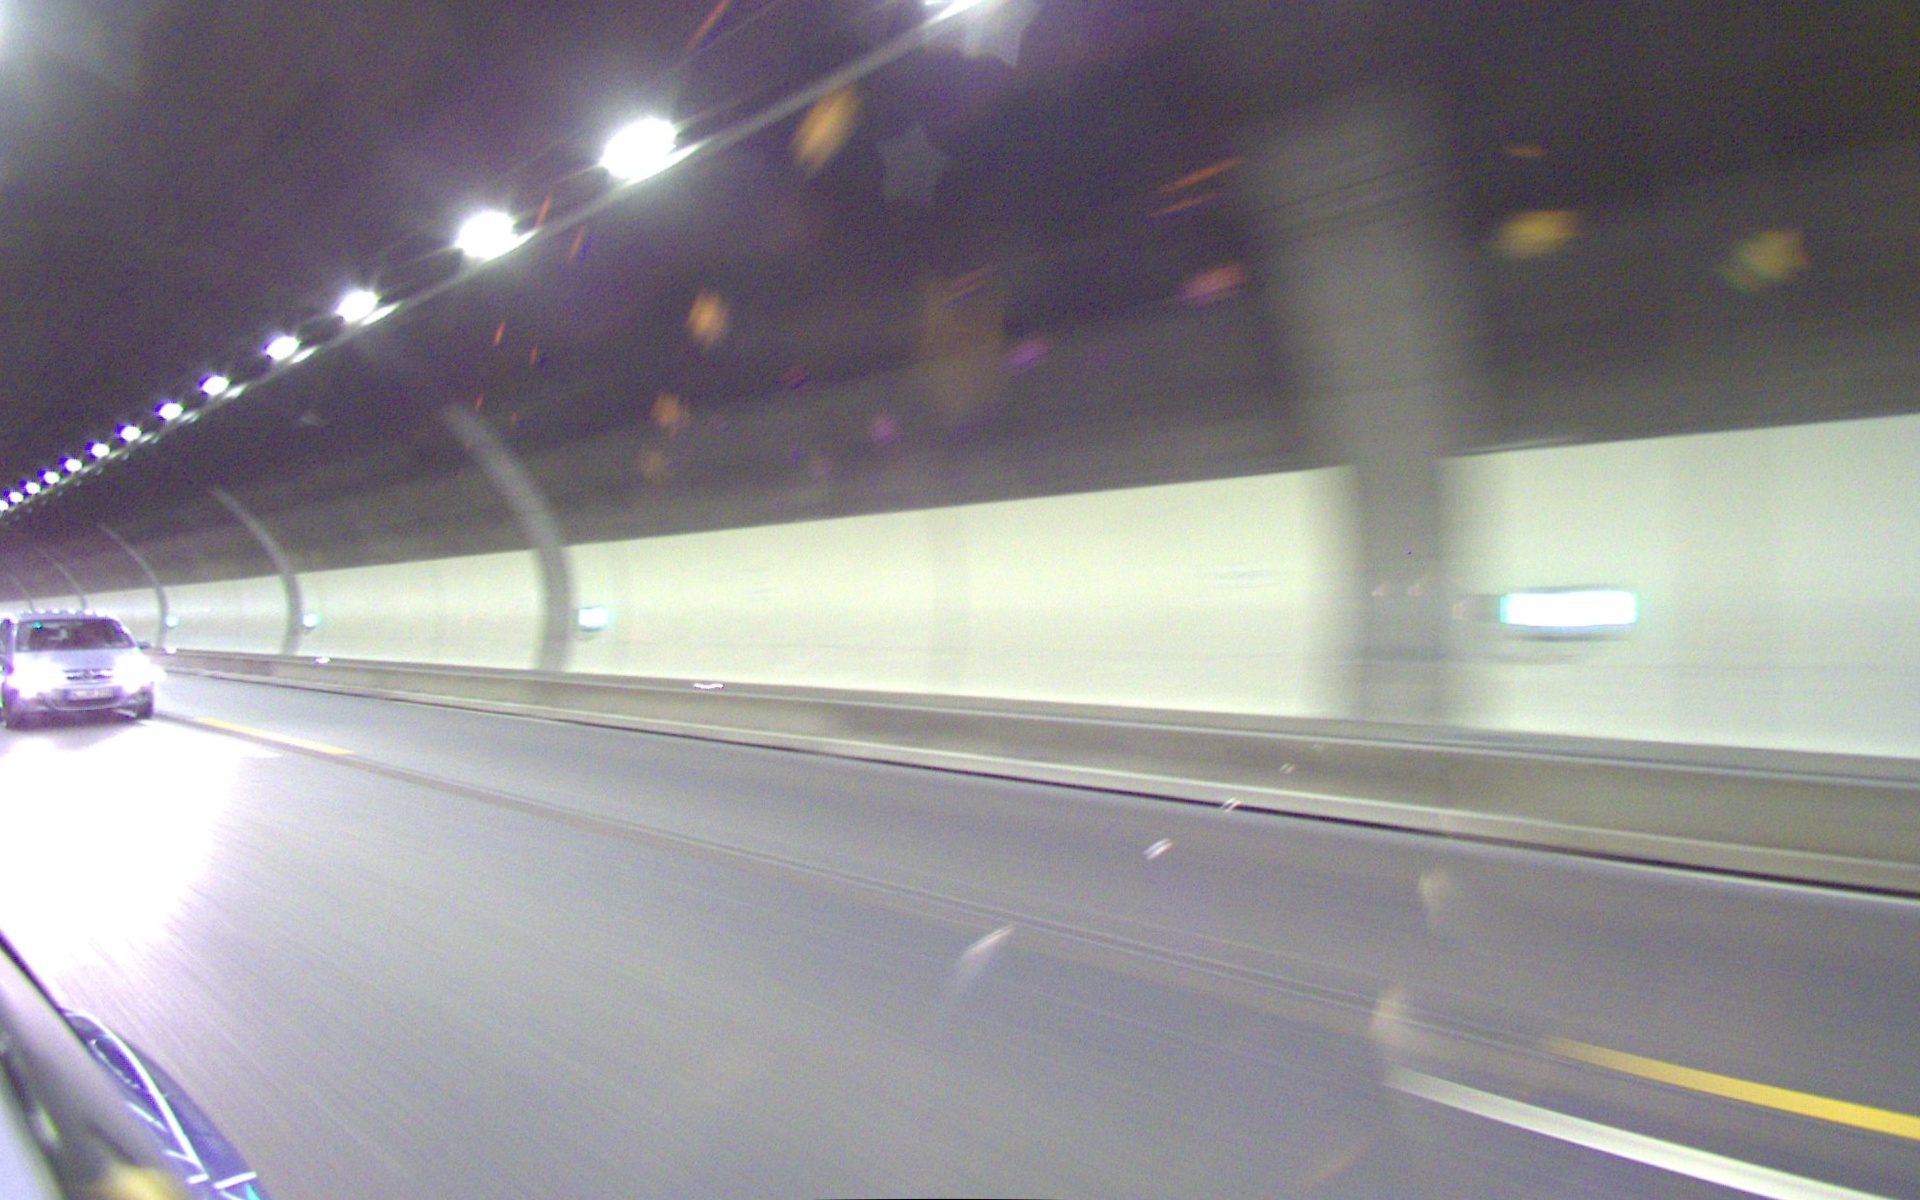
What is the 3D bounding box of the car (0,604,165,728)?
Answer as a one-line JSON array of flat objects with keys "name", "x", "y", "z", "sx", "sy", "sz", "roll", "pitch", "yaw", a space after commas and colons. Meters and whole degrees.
[{"name": "car", "x": -13.477, "y": 0.882, "z": 15.226, "sx": 4.097, "sy": 1.584, "sz": 1.743, "roll": -1, "pitch": 0, "yaw": 43}]
